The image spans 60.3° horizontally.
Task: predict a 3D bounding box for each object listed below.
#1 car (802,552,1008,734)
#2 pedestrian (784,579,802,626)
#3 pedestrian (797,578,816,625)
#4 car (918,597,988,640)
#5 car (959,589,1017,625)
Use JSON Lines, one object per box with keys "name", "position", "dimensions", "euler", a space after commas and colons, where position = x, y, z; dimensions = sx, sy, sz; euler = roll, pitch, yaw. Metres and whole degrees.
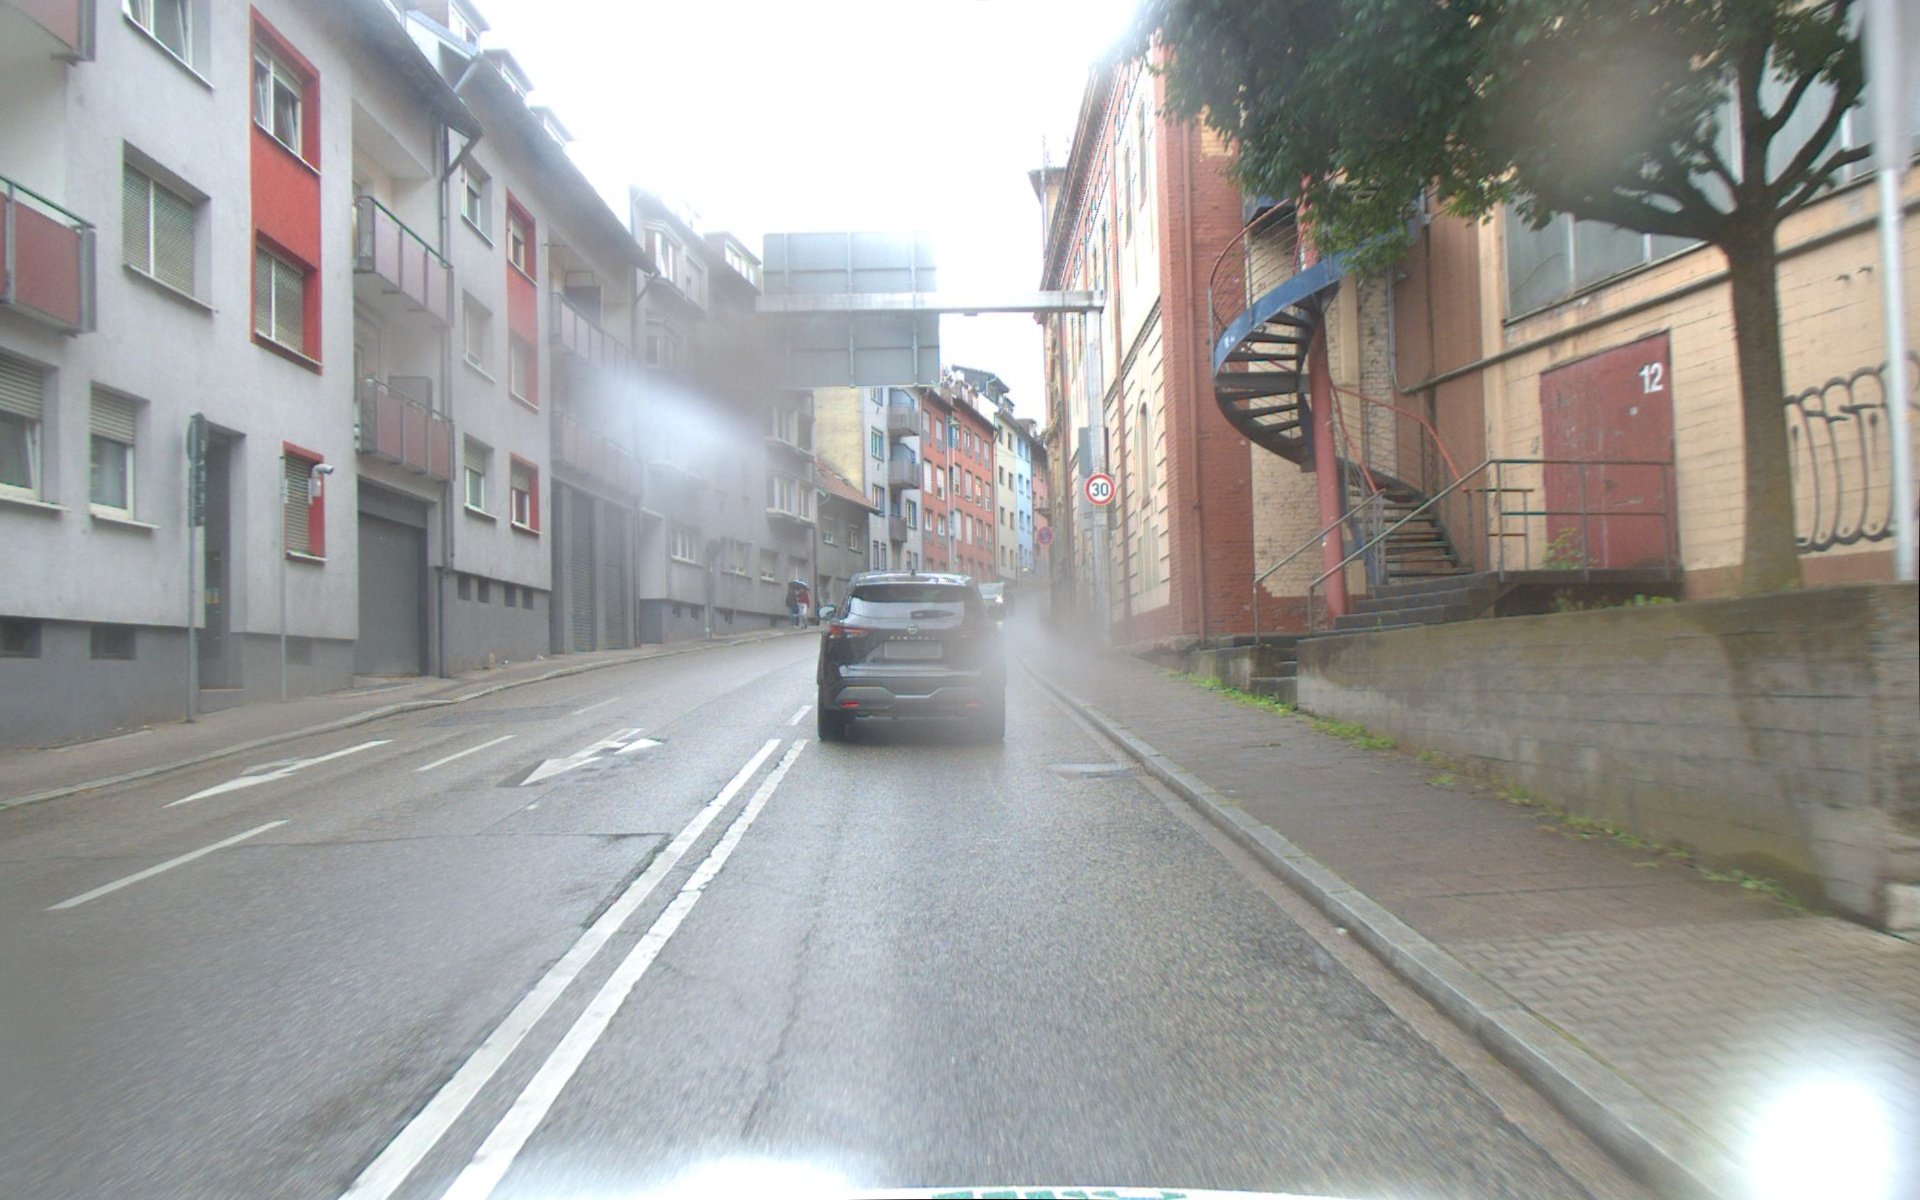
{"name": "car", "position": [-0.612, 0.403, 16.841], "dimensions": [1.844, 1.622, 3.918], "euler": [0, -1, -4]}
{"name": "pedestrian", "position": [-6.493, 0.087, 64.368], "dimensions": [0.512, 1.806, 0.623], "euler": [-3, 1, 5]}
{"name": "pedestrian", "position": [-5.963, 0.063, 64.328], "dimensions": [0.512, 1.806, 0.623], "euler": [-3, 1, 5]}
{"name": "car", "position": [-0.235, 0.745, 65.074], "dimensions": [1.756, 1.537, 4.003], "euler": [-3, -2, 14]}
{"name": "car", "position": [1.315, 0.337, 76.505], "dimensions": [1.756, 1.537, 4.003], "euler": [-3, -2, 14]}
